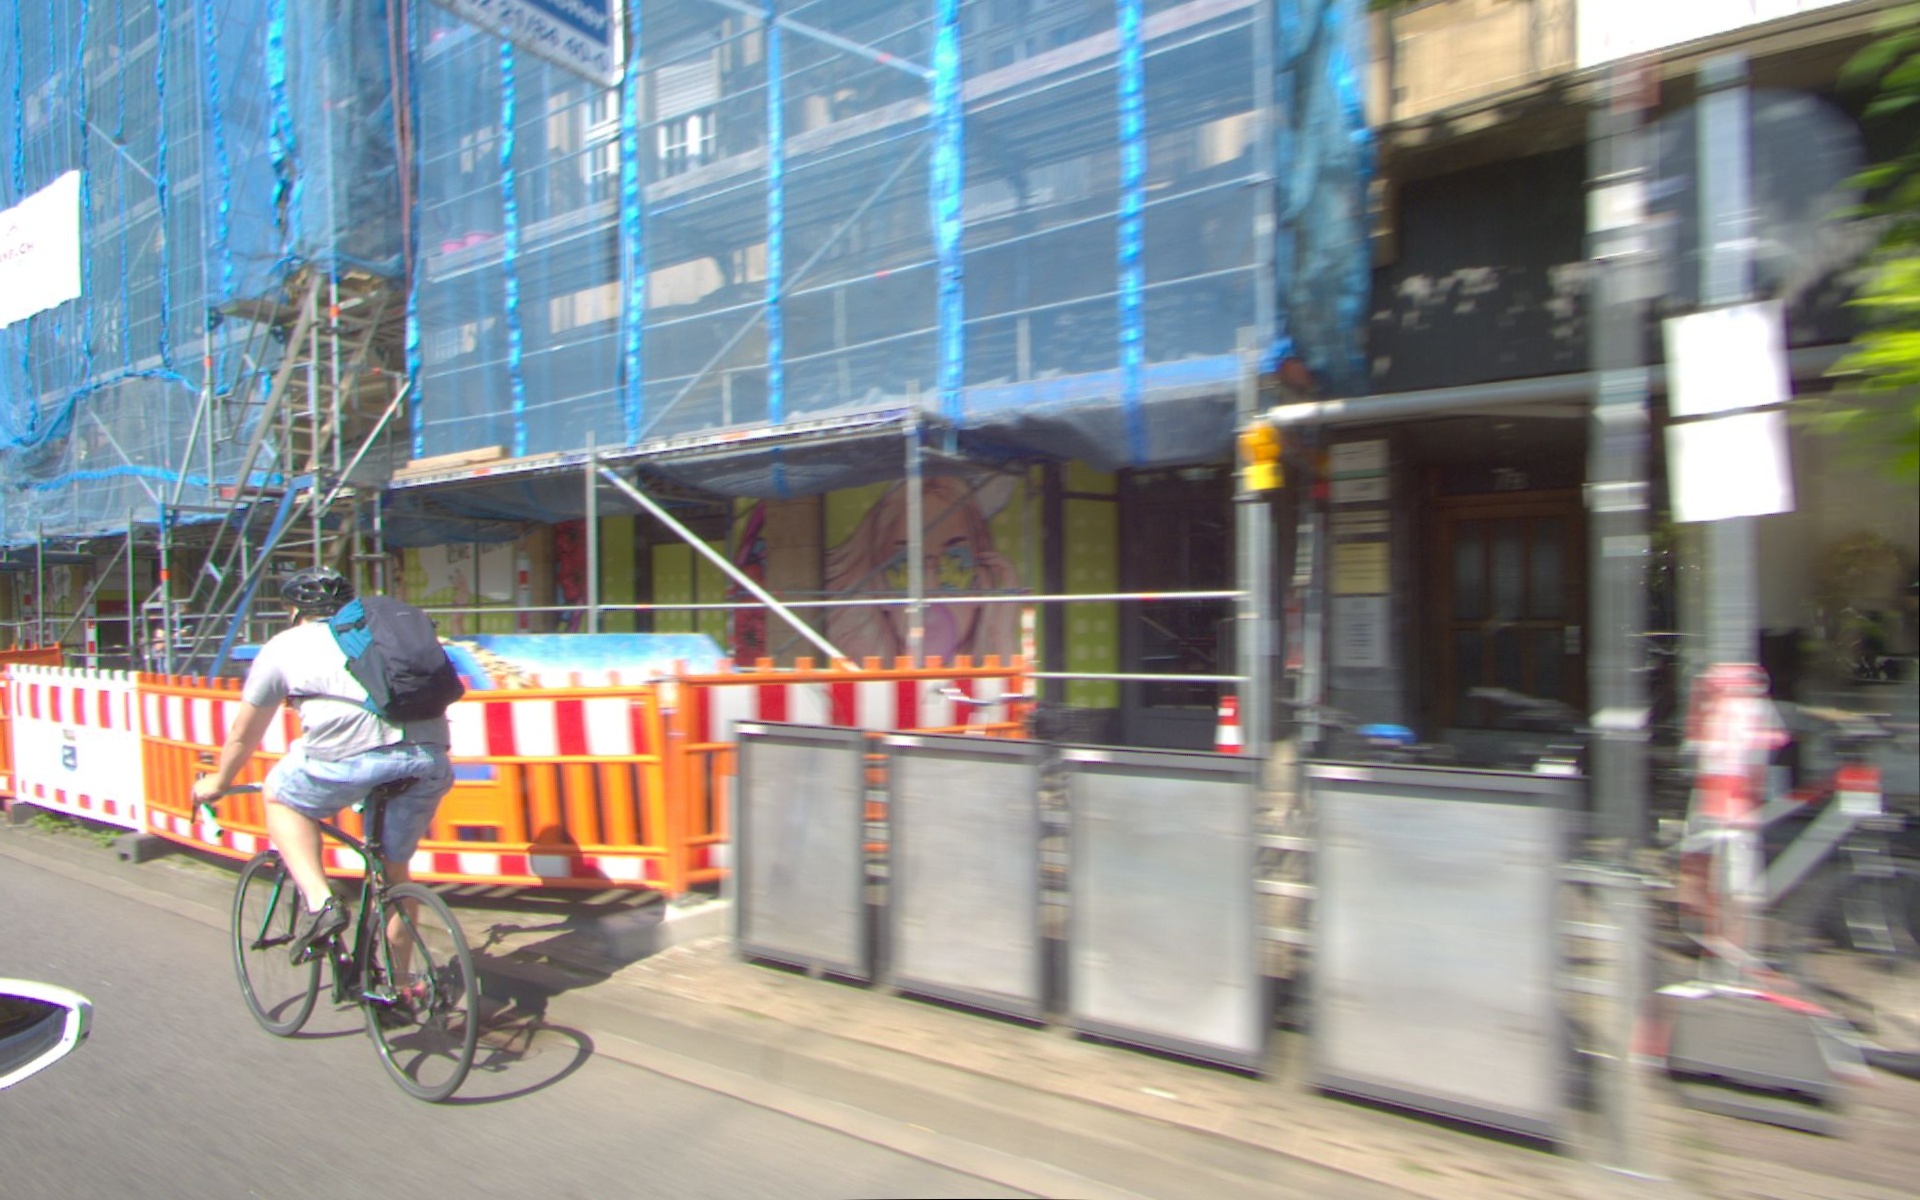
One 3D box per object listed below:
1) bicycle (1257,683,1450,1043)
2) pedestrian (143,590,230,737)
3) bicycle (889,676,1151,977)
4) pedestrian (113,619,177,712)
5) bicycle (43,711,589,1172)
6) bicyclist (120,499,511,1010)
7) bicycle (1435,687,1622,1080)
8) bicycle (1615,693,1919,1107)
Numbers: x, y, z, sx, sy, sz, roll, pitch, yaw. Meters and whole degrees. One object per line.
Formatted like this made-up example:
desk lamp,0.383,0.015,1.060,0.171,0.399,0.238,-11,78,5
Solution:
bicycle,1.647,0.900,4.033,0.475,1.031,1.751,-1,-2,30
pedestrian,-9.799,0.794,12.692,0.640,1.798,0.638,-1,-3,32
bicycle,0.357,0.905,4.596,0.475,1.031,1.751,-1,-2,30
pedestrian,-14.573,1.160,17.922,0.635,1.621,0.763,1,-2,-21
bicycle,-2.319,0.999,3.520,2.099,1.106,0.733,-1,-3,31
bicyclist,-2.243,0.472,3.497,1.126,1.481,0.688,-1,-3,30
bicycle,2.132,0.897,3.780,0.475,1.031,1.751,-1,-2,30
bicycle,2.953,0.888,3.429,0.473,1.031,1.758,-1,-2,8
